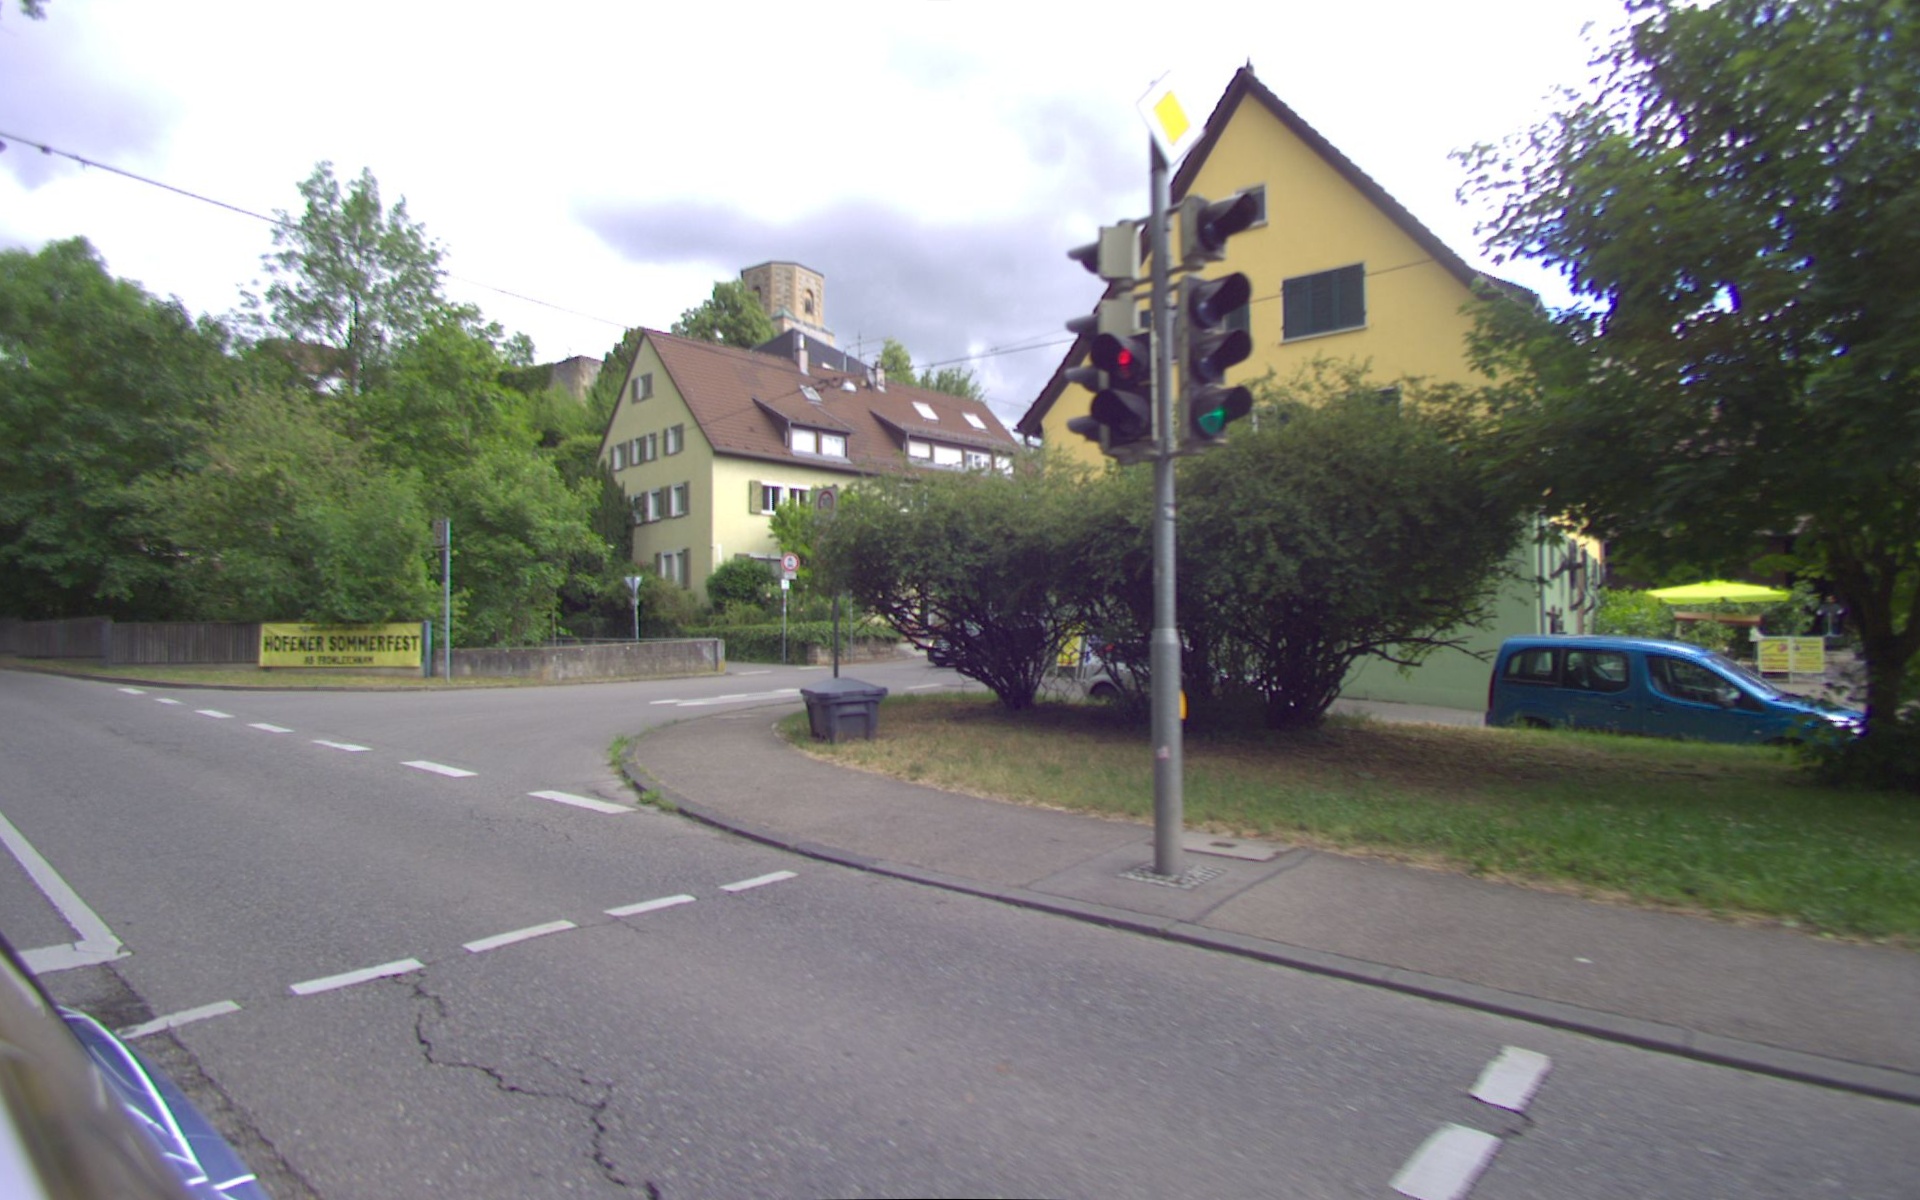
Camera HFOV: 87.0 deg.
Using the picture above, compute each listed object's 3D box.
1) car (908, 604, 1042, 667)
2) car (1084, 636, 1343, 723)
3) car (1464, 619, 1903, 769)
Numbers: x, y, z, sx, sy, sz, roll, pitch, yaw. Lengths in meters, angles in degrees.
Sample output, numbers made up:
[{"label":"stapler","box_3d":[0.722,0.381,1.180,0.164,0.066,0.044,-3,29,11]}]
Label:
[{"label":"car","box_3d":[0.509,1.029,30.639,1.945,1.608,3.946,-2,1,41]},{"label":"car","box_3d":[4.370,1.332,17.806,4.149,1.355,1.628,-2,-4,41]},{"label":"car","box_3d":[9.321,1.122,13.304,4.448,1.630,1.971,-2,-4,43]}]
